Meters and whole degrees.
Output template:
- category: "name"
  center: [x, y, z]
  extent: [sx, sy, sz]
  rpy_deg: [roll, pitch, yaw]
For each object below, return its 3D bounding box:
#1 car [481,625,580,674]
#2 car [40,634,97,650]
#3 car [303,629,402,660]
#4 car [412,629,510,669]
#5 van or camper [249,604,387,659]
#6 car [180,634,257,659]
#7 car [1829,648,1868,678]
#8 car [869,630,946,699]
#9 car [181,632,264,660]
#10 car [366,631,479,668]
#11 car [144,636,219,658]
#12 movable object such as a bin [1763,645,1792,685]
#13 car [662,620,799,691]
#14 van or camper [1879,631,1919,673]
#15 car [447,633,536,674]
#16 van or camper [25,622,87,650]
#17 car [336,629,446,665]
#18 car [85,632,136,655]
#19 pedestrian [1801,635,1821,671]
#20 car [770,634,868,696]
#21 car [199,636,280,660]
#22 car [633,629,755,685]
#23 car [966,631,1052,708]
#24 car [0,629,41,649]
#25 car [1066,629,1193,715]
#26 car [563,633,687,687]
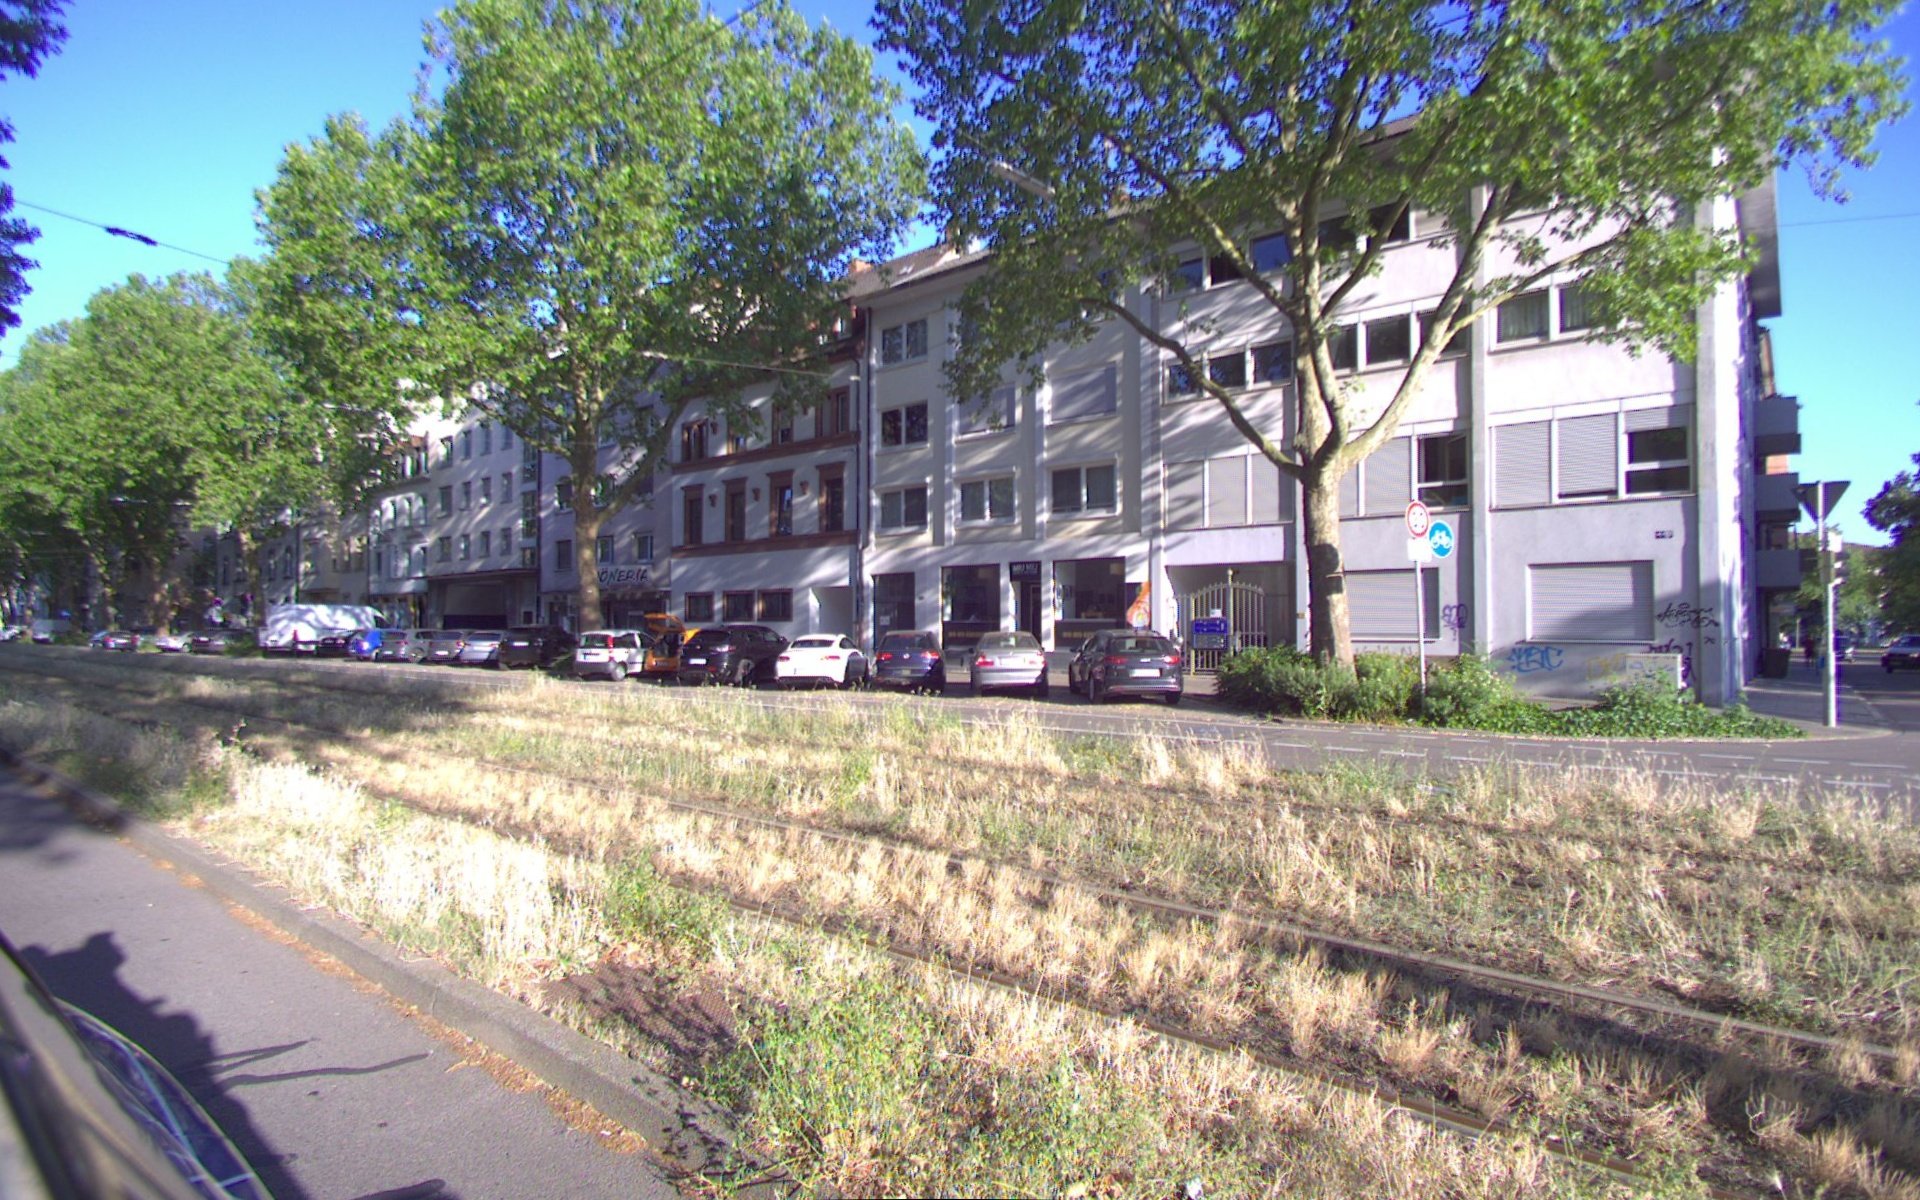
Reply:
- category: "car"
  center: [-15.553, 1.753, 36.896]
  extent: [1.972, 1.673, 4.000]
  rpy_deg: [-1, -1, -1]
- category: "car"
  center: [-85.873, 4.005, 97.574]
  extent: [1.709, 1.256, 3.993]
  rpy_deg: [-1, 1, 6]
- category: "car"
  center: [-30.613, 2.253, 51.138]
  extent: [1.984, 1.502, 3.975]
  rpy_deg: [-1, -3, 18]
- category: "car"
  center: [-20.409, 1.982, 41.546]
  extent: [1.735, 1.433, 3.993]
  rpy_deg: [-1, 0, 6]
- category: "van or camper"
  center: [-32.979, 1.641, 52.253]
  extent: [2.162, 2.666, 5.929]
  rpy_deg: [-1, -2, 19]
- category: "car"
  center: [-47.593, 3.033, 65.055]
  extent: [1.803, 1.545, 3.994]
  rpy_deg: [0, -4, 4]
- category: "car"
  center: [63.500, 4.467, 72.317]
  extent: [1.999, 2.029, 3.945]
  rpy_deg: [-2, -3, 41]
- category: "car"
  center: [-1.314, 1.554, 25.557]
  extent: [1.776, 1.452, 4.002]
  rpy_deg: [-1, 0, -3]
- category: "car"
  center: [-45.394, 2.847, 62.427]
  extent: [1.912, 1.605, 4.155]
  rpy_deg: [0, -4, 4]
- category: "car"
  center: [-23.470, 2.139, 44.314]
  extent: [1.941, 1.503, 3.964]
  rpy_deg: [-1, -2, 27]
- category: "car"
  center: [-51.649, 3.087, 67.222]
  extent: [1.806, 1.400, 3.670]
  rpy_deg: [0, -2, 9]
- category: "movable object such as a bin"
  center: [27.955, 2.205, 34.607]
  extent: [0.745, 1.315, 0.861]
  rpy_deg: [-2, -3, 39]
- category: "car"
  center: [-6.332, 1.568, 28.481]
  extent: [1.975, 1.800, 4.343]
  rpy_deg: [1, -3, 14]
- category: "van or camper"
  center: [48.557, 2.546, 50.103]
  extent: [5.049, 2.029, 2.005]
  rpy_deg: [1, -2, -14]
- category: "car"
  center: [-18.170, 2.032, 39.468]
  extent: [1.883, 1.396, 4.004]
  rpy_deg: [-1, -1, -5]
- category: "van or camper"
  center: [-88.179, 3.475, 98.779]
  extent: [2.171, 2.418, 4.364]
  rpy_deg: [-1, 1, 0]
- category: "car"
  center: [-25.833, 2.100, 46.068]
  extent: [1.854, 1.431, 3.951]
  rpy_deg: [-1, 0, 36]
- category: "car"
  center: [-56.501, 2.891, 67.276]
  extent: [4.480, 1.400, 1.802]
  rpy_deg: [-2, -5, 40]
- category: "pedestrian"
  center: [43.144, 2.682, 51.296]
  extent: [0.687, 1.764, 0.635]
  rpy_deg: [-1, -2, 35]
- category: "car"
  center: [-3.594, 1.644, 26.564]
  extent: [1.700, 1.343, 4.200]
  rpy_deg: [-1, 0, 4]
- category: "car"
  center: [-42.867, 2.868, 60.325]
  extent: [1.778, 1.368, 4.002]
  rpy_deg: [0, -3, 3]
- category: "car"
  center: [-8.233, 1.738, 31.669]
  extent: [1.764, 1.490, 3.974]
  rpy_deg: [-1, 0, 20]
- category: "car"
  center: [1.026, 1.507, 23.151]
  extent: [1.698, 1.452, 4.000]
  rpy_deg: [-1, 0, -1]
- category: "car"
  center: [-107.234, 4.432, 115.042]
  extent: [1.971, 2.029, 4.002]
  rpy_deg: [-1, 0, -2]
- category: "car"
  center: [3.421, 1.413, 21.162]
  extent: [1.791, 1.490, 4.002]
  rpy_deg: [-1, 0, -2]
- category: "car"
  center: [-10.334, 1.807, 31.571]
  extent: [1.643, 1.460, 4.344]
  rpy_deg: [0, -1, 14]
